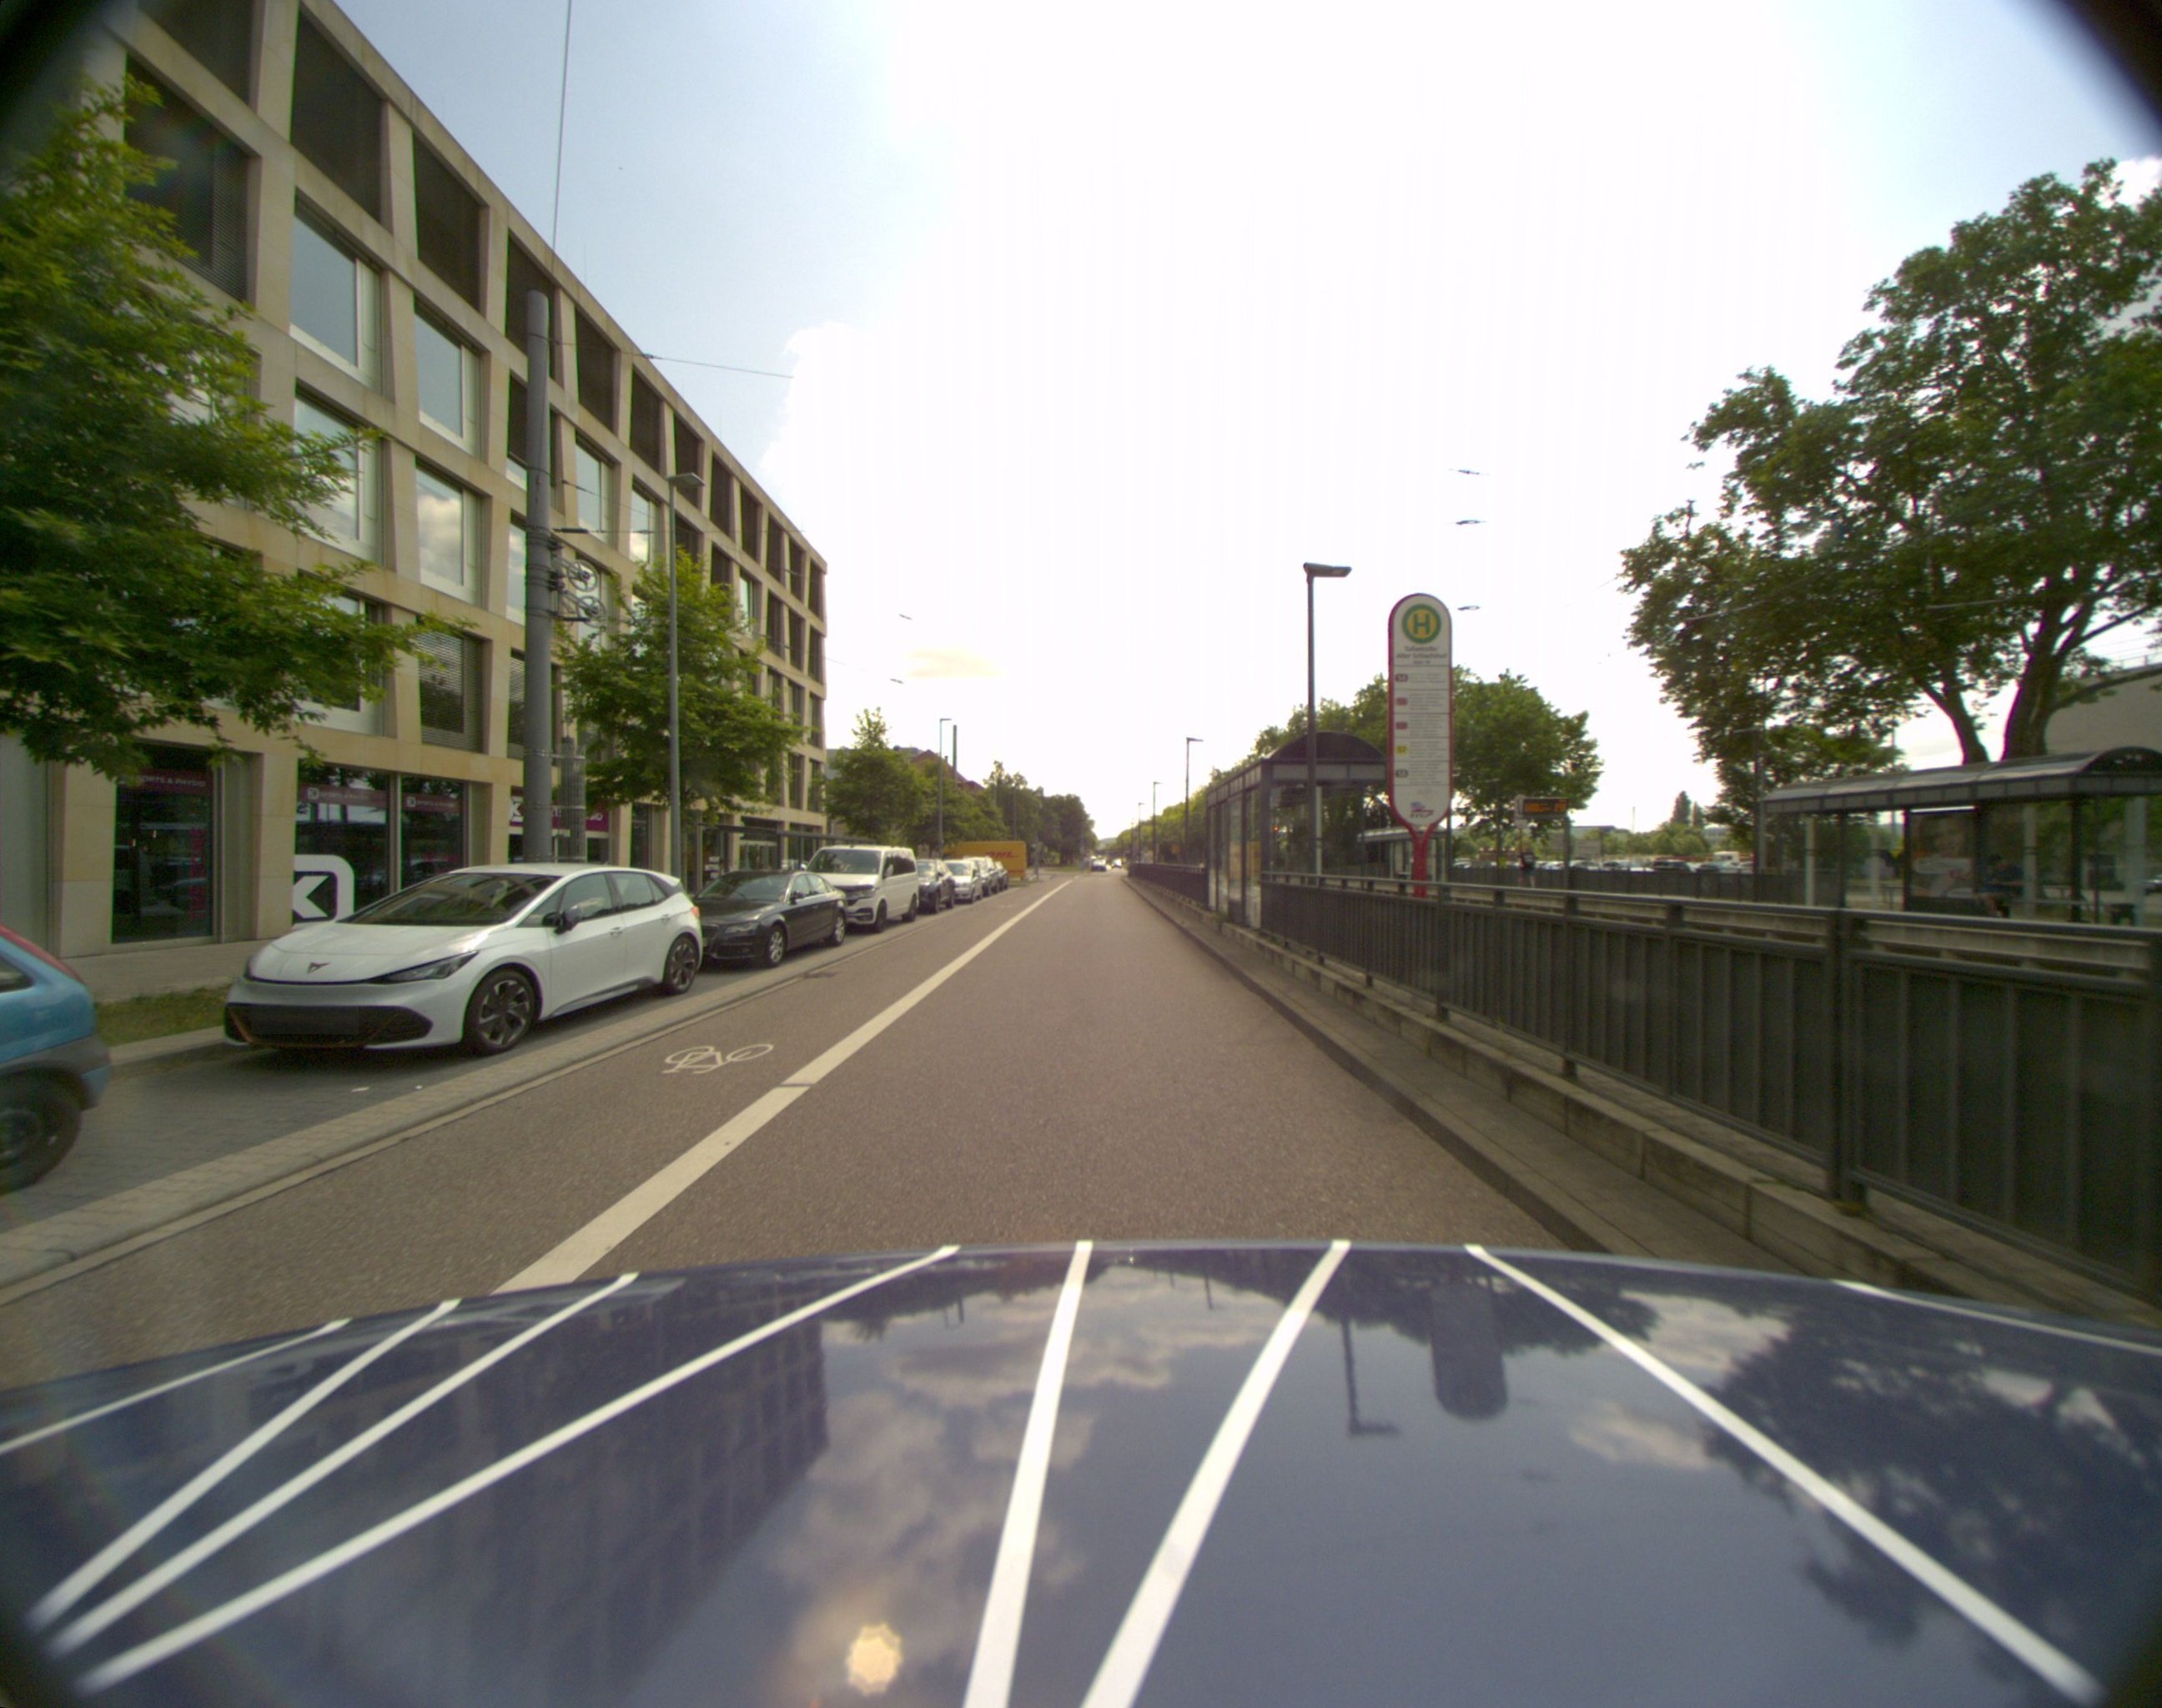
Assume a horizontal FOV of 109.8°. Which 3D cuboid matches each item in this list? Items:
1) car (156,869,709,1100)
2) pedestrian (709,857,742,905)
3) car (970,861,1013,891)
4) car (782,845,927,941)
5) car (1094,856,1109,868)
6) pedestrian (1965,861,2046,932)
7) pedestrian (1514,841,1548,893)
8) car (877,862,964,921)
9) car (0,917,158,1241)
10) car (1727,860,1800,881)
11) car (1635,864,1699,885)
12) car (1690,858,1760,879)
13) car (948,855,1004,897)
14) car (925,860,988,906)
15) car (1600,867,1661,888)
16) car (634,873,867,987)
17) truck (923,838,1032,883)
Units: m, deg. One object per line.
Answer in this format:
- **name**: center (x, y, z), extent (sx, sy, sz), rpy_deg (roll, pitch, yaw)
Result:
- **car**: center (-5.616, 0.967, 7.460), extent (1.797, 1.520, 4.159), rpy_deg (2, 0, 1)
- **pedestrian**: center (-11.660, 0.871, 24.953), extent (0.639, 1.542, 0.905), rpy_deg (0, 0, 1)
- **car**: center (-4.663, 1.102, 39.999), extent (1.695, 1.496, 4.068), rpy_deg (0, 0, 1)
- **car**: center (-5.178, 0.826, 18.111), extent (1.886, 1.928, 4.843), rpy_deg (2, 0, 1)
- **car**: center (2.763, 1.099, 104.300), extent (1.784, 1.531, 4.420), rpy_deg (2, 0, -1)
- **pedestrian**: center (16.982, 0.761, 13.979), extent (0.554, 1.262, 0.768), rpy_deg (0, 0, 3)
- **pedestrian**: center (15.990, 0.452, 27.015), extent (0.708, 1.834, 0.864), rpy_deg (0, 0, 1)
- **car**: center (-4.979, 1.100, 24.171), extent (1.725, 1.631, 4.528), rpy_deg (2, 0, 1)
- **car**: center (-5.906, 1.054, 2.161), extent (1.689, 1.449, 3.951), rpy_deg (2, 0, 1)
- **car**: center (52.291, 1.254, 58.313), extent (1.884, 1.474, 4.107), rpy_deg (2, 0, 1)
- **car**: center (44.749, 1.537, 58.108), extent (1.802, 1.467, 4.000), rpy_deg (1, -1, 1)
- **car**: center (49.483, 1.098, 58.488), extent (1.884, 1.474, 4.107), rpy_deg (2, 0, 1)
- **car**: center (-4.695, 0.957, 34.569), extent (1.773, 1.757, 4.840), rpy_deg (0, 0, 1)
- **car**: center (-4.704, 1.049, 29.182), extent (1.725, 1.610, 3.860), rpy_deg (0, 0, 1)
- **car**: center (42.003, 1.753, 58.146), extent (1.802, 1.467, 4.000), rpy_deg (1, -1, 1)
- **car**: center (-5.272, 1.118, 12.925), extent (1.886, 1.478, 4.564), rpy_deg (1, 0, 1)
- **truck**: center (-6.717, 0.434, 49.879), extent (6.824, 2.850, 2.454), rpy_deg (0, 0, -1)
